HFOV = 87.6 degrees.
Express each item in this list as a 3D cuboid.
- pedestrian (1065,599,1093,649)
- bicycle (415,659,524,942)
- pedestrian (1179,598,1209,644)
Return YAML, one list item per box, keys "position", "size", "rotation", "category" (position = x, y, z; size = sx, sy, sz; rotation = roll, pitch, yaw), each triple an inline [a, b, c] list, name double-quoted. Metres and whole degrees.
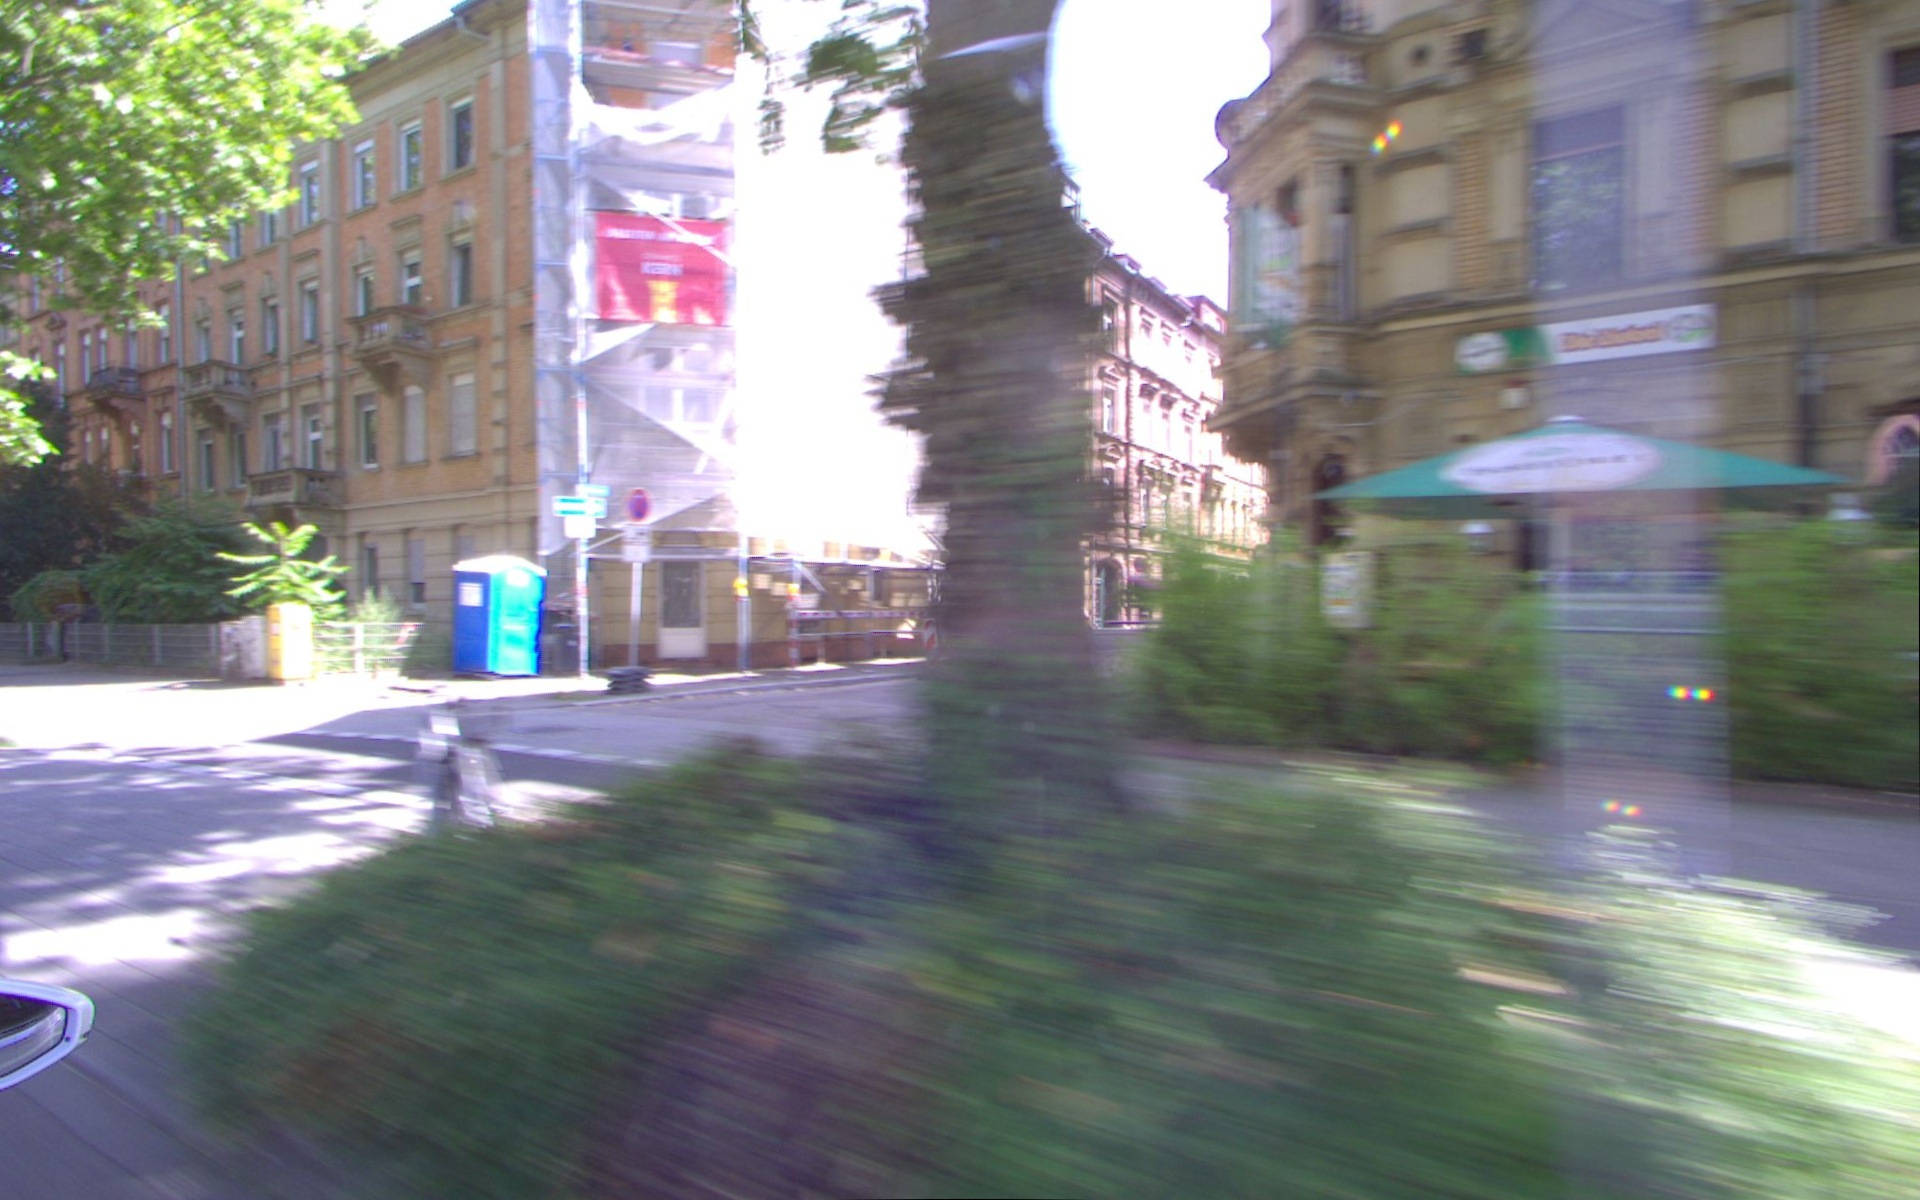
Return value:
- position: [4.259, 0.861, 35.731]
  size: [0.843, 1.748, 0.834]
  rotation: [0, 0, 19]
  category: "pedestrian"
- position: [-2.501, 0.901, 5.074]
  size: [0.416, 1.120, 1.609]
  rotation: [0, 0, -28]
  category: "bicycle"
- position: [9.400, 0.816, 40.170]
  size: [0.922, 1.822, 1.034]
  rotation: [0, 1, 28]
  category: "pedestrian"
